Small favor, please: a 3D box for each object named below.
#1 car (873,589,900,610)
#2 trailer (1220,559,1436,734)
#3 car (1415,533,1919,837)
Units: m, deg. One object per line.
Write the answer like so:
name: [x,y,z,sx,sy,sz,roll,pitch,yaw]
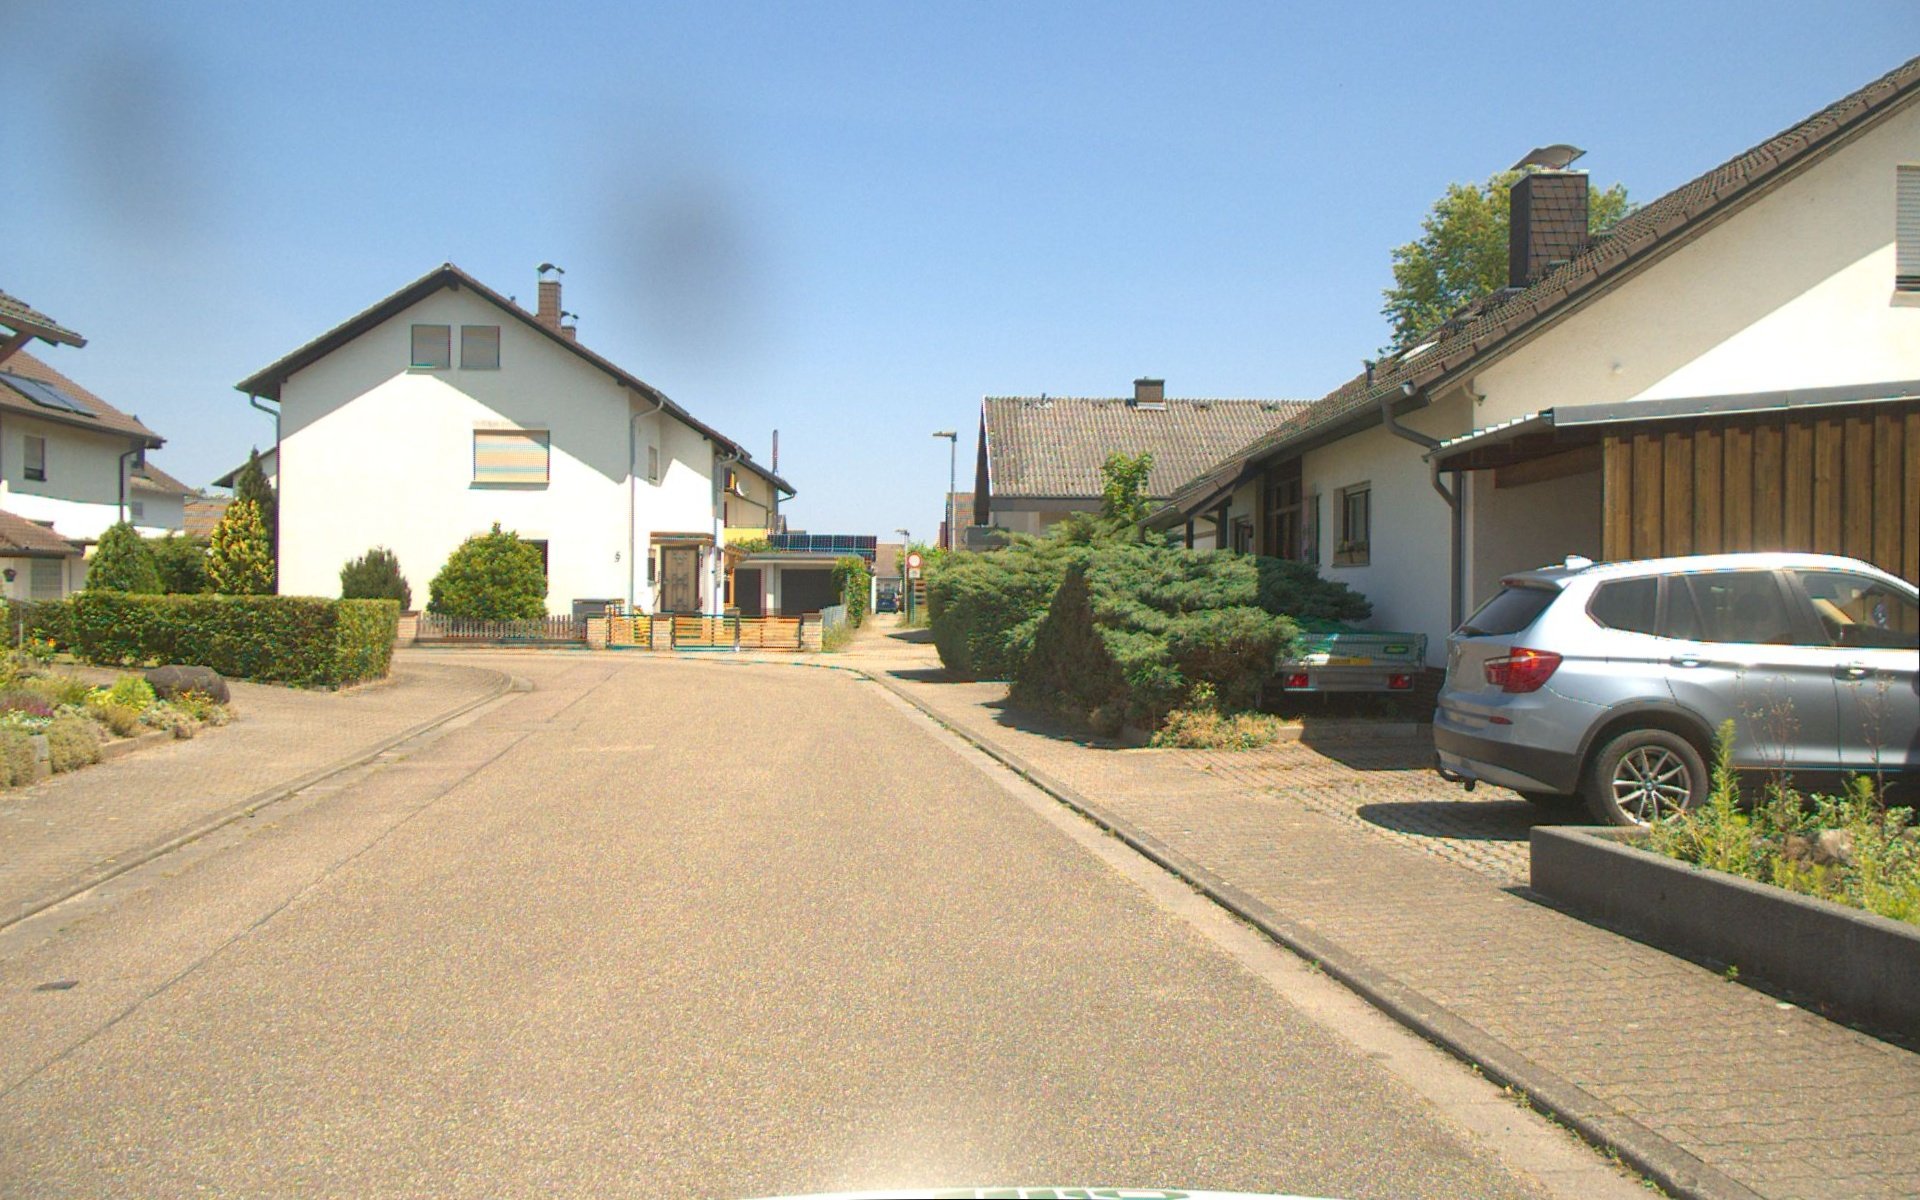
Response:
car: [-6.007,-0.030,135.892,2.149,1.731,3.806,0,0,-1]
trailer: [3.916,0.435,18.094,1.555,1.701,3.296,-1,1,-1]
car: [5.414,0.474,10.556,4.531,1.732,1.710,-1,0,1]
